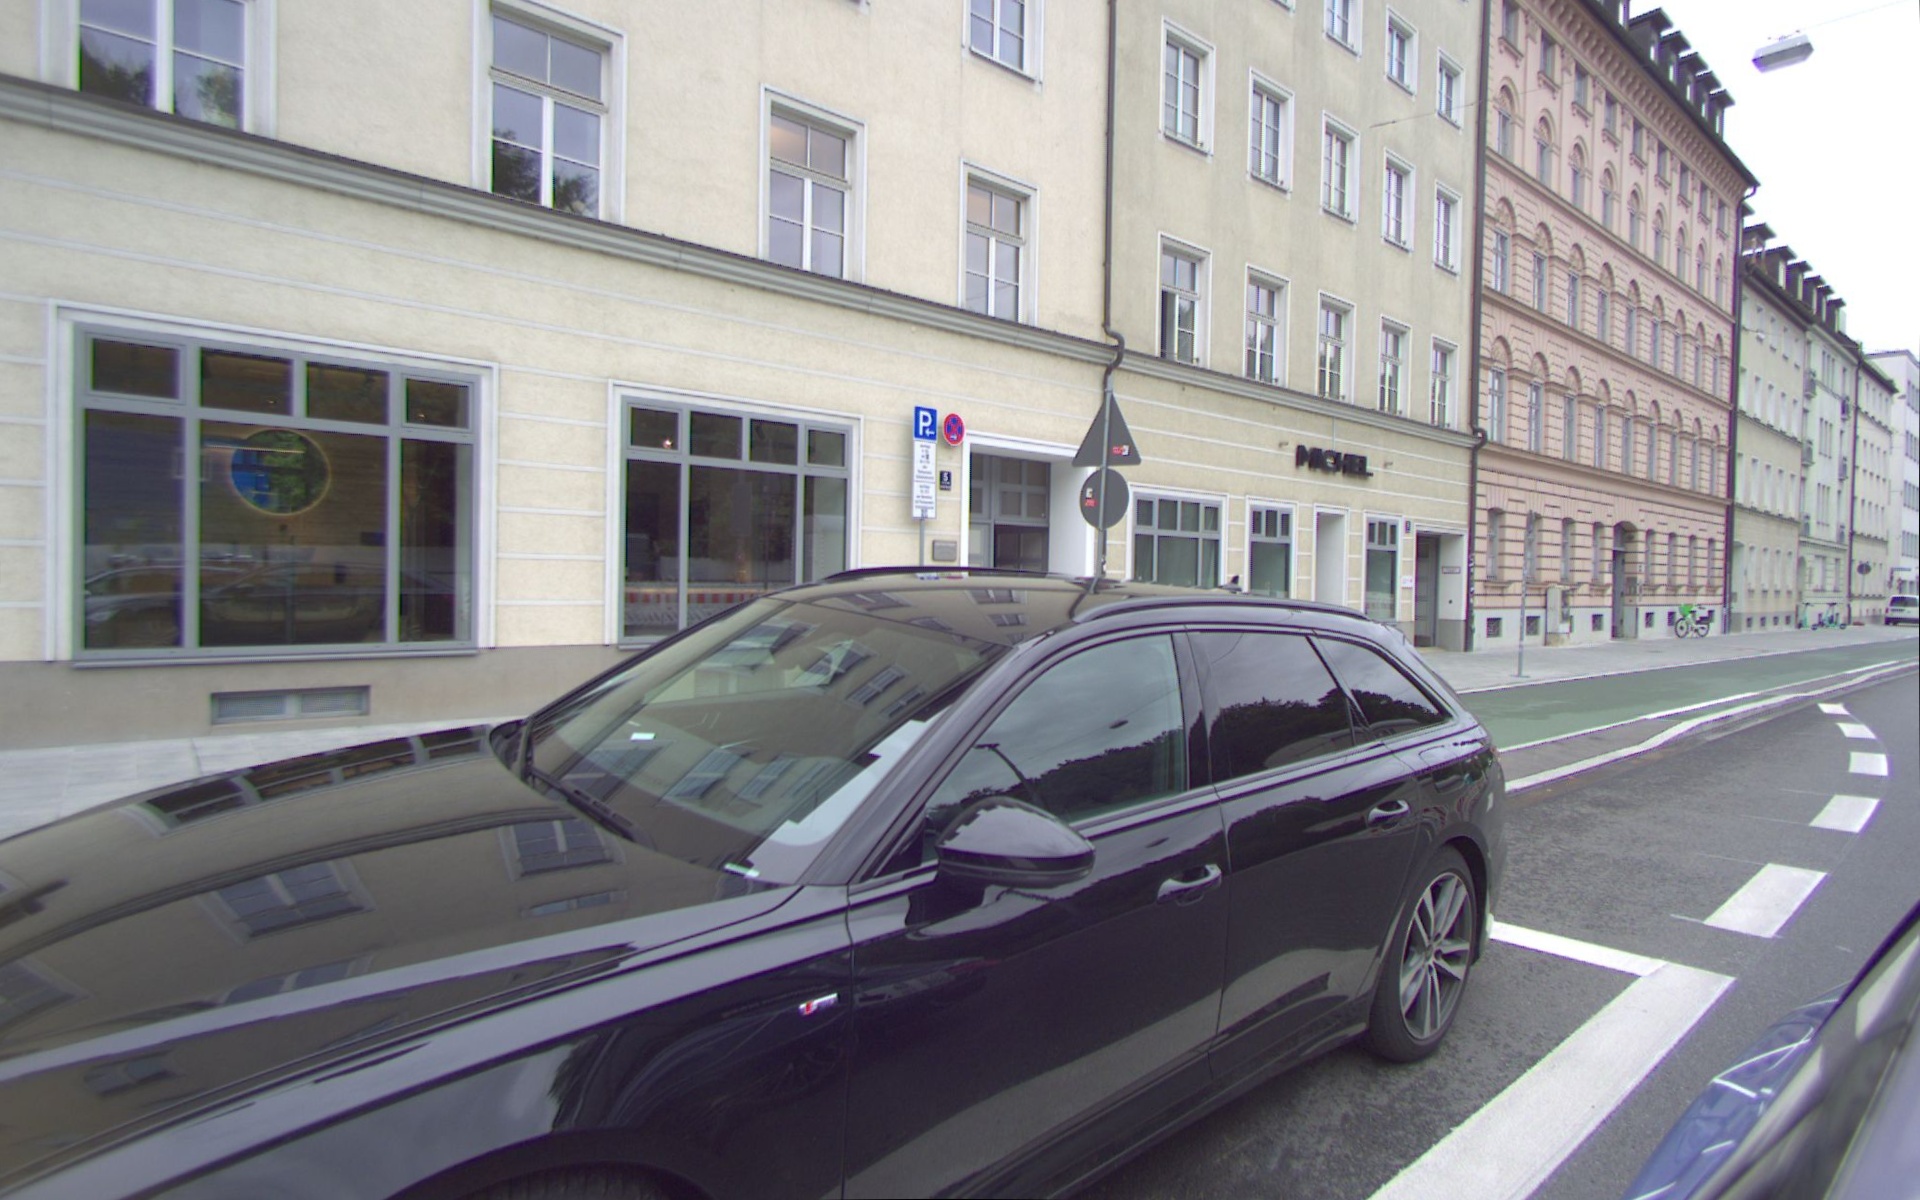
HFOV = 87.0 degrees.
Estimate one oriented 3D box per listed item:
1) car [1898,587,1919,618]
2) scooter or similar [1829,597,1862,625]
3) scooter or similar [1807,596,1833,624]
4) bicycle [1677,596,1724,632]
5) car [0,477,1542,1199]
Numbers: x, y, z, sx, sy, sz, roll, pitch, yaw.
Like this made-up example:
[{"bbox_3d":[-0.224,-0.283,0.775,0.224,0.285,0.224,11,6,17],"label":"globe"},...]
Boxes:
[{"bbox_3d":[56.529,0.171,59.292,4.356,1.771,1.737,1,2,-40],"label":"car"},{"bbox_3d":[42.627,0.531,48.725,1.105,1.246,0.246,3,2,18],"label":"scooter or similar"},{"bbox_3d":[38.854,0.448,45.725,1.096,1.246,0.248,1,2,-14],"label":"scooter or similar"},{"bbox_3d":[24.829,0.467,33.919,1.695,1.188,0.428,1,1,-23],"label":"bicycle"},{"bbox_3d":[-0.298,0.620,2.587,4.607,1.498,1.804,0,1,-43],"label":"car"}]
